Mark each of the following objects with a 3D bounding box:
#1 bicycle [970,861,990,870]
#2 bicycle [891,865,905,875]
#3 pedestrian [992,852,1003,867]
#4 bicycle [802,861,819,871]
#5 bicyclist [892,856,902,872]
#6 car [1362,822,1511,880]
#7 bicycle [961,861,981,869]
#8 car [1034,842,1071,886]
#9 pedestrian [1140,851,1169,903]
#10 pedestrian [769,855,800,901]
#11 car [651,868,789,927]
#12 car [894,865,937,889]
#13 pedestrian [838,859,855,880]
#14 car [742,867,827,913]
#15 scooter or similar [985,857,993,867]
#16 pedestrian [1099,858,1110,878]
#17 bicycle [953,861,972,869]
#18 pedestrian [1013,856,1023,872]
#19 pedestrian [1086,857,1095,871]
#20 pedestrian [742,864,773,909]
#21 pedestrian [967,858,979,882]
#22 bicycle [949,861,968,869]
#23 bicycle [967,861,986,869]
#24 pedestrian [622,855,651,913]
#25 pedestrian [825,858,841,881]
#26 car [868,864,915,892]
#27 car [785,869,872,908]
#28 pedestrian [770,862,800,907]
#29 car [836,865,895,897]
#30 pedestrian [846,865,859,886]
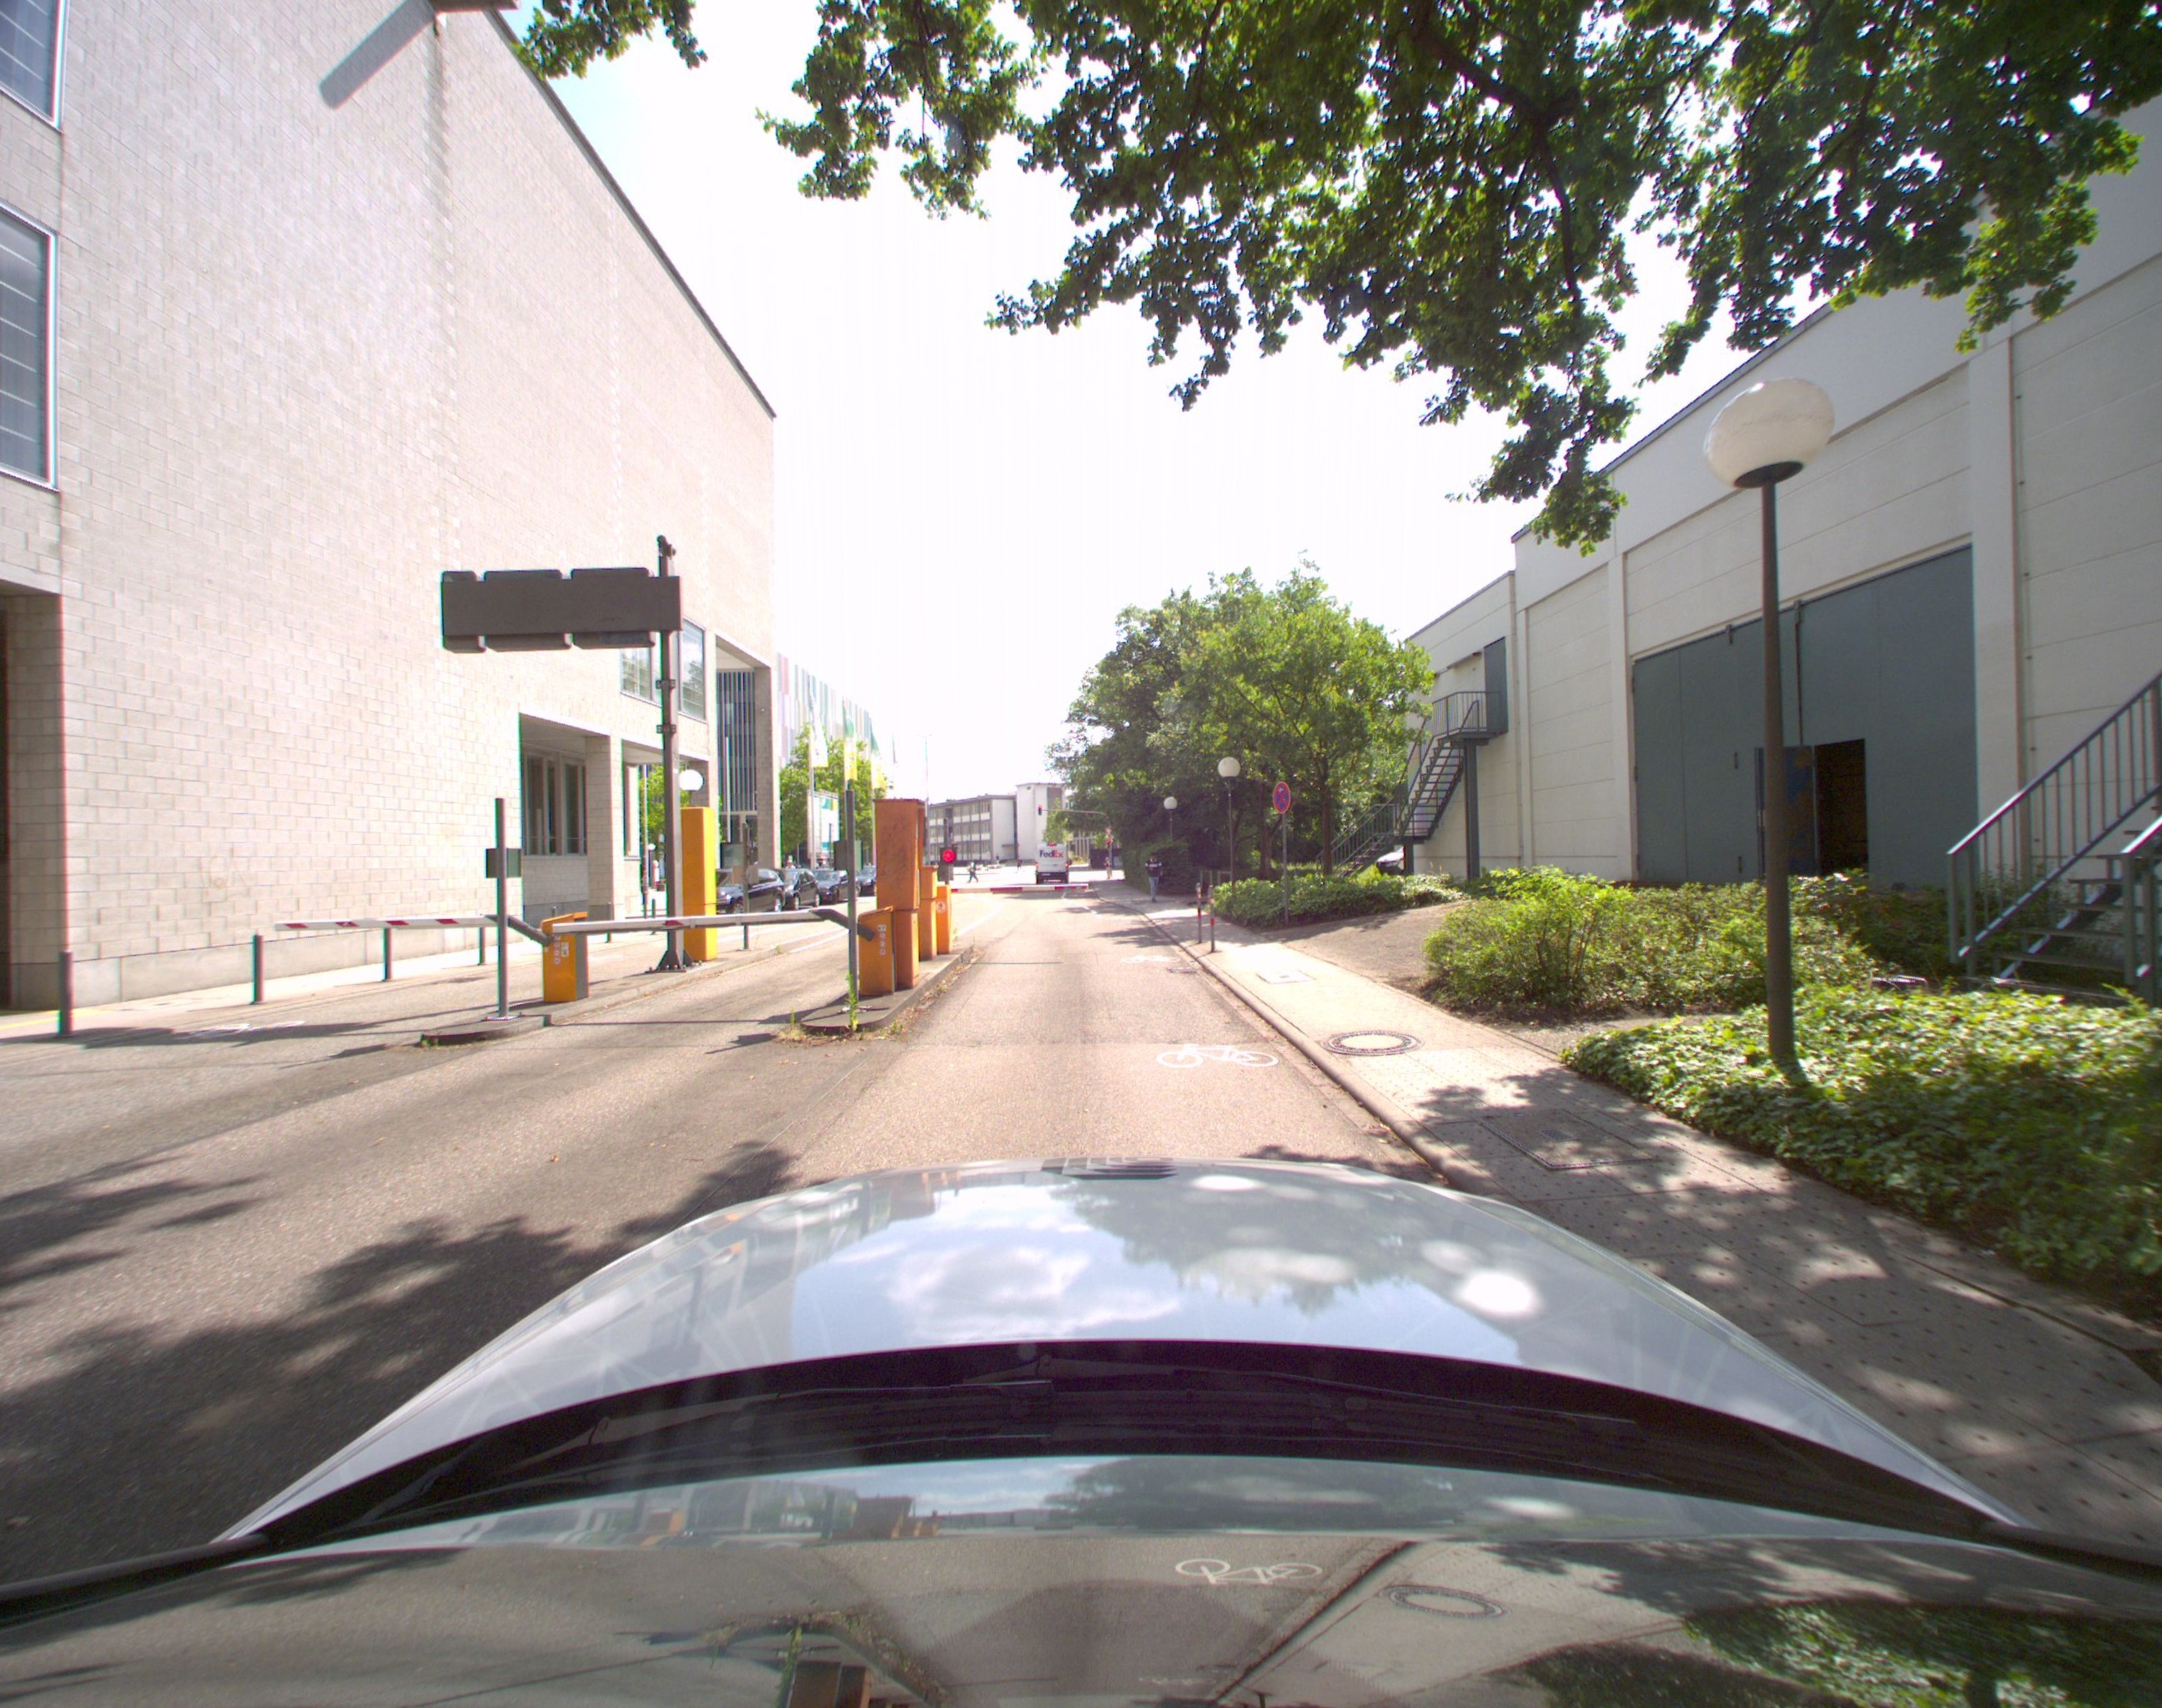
[{"bbox_3d":[-15.928,1.837,128.810,2.979,1.363,1.104,0,-1,-38],"label":"bicycle"},{"bbox_3d":[-21.356,1.823,95.047,0.766,1.122,2.032,-2,0,10],"label":"bicycle"},{"bbox_3d":[-11.182,0.775,108.780,1.132,2.014,1.160,-1,-1,13],"label":"pedestrian"},{"bbox_3d":[-34.037,1.466,102.605,1.383,1.237,2.921,0,-1,-32],"label":"bicycle"},{"bbox_3d":[-21.397,1.189,94.882,0.785,1.817,1.002,-2,0,9],"label":"bicyclist"},{"bbox_3d":[13.651,-0.100,31.488,4.809,2.014,2.062,-2,-1,0],"label":"car"},{"bbox_3d":[-17.716,1.780,131.152,2.979,1.363,1.261,0,-1,-38],"label":"bicycle"},{"bbox_3d":[-1.750,0.583,51.535,2.089,2.566,5.600,-2,0,-1],"label":"car"},{"bbox_3d":[2.429,0.744,27.066,0.738,1.674,1.255,-1,0,-3],"label":"pedestrian"},{"bbox_3d":[-13.389,1.062,36.771,0.982,2.014,1.163,-1,-1,-4],"label":"pedestrian"},{"bbox_3d":[-10.168,1.156,23.399,1.853,1.467,4.717,0,0,0],"label":"car"},{"bbox_3d":[-10.268,1.410,50.965,1.671,1.395,4.662,1,0,1],"label":"car"},{"bbox_3d":[-20.222,1.329,70.294,0.853,1.819,1.102,-2,0,23],"label":"pedestrian"},{"bbox_3d":[-10.330,1.205,28.646,1.633,1.467,3.706,0,0,0],"label":"car"},{"bbox_3d":[-10.958,0.967,96.431,0.717,1.178,2.715,-1,0,-11],"label":"scooter or similar"},{"bbox_3d":[1.820,1.075,62.563,0.730,1.576,0.774,0,-1,-5],"label":"pedestrian"},{"bbox_3d":[-19.387,1.788,133.308,2.979,1.363,1.104,0,-1,-38],"label":"bicycle"},{"bbox_3d":[-7.272,1.165,94.386,1.078,1.870,0.832,-2,0,-2],"label":"pedestrian"},{"bbox_3d":[1.134,1.154,94.573,0.827,1.523,0.809,-1,-1,-20],"label":"pedestrian"},{"bbox_3d":[-14.919,1.477,37.640,0.982,2.014,1.163,-1,-1,-4],"label":"pedestrian"},{"bbox_3d":[-8.456,1.266,63.688,0.717,1.859,0.770,-1,0,1],"label":"pedestrian"},{"bbox_3d":[-20.176,1.813,134.354,2.979,1.363,1.104,0,-1,-38],"label":"bicycle"},{"bbox_3d":[-16.670,1.753,129.902,2.979,1.363,1.104,0,-1,-38],"label":"bicycle"},{"bbox_3d":[-18.978,1.284,34.793,0.750,2.422,0.742,-2,-1,24],"label":"pedestrian"},{"bbox_3d":[-21.557,1.348,70.862,0.845,1.876,1.012,-2,0,22],"label":"pedestrian"},{"bbox_3d":[-10.630,1.299,45.855,1.671,1.467,3.911,1,0,1],"label":"car"},{"bbox_3d":[-10.213,1.359,33.319,1.852,1.378,5.018,1,0,2],"label":"car"},{"bbox_3d":[-13.808,1.414,37.981,0.982,2.014,1.163,-1,-1,-4],"label":"pedestrian"},{"bbox_3d":[-10.696,1.285,40.725,1.741,1.467,4.197,1,0,2],"label":"car"},{"bbox_3d":[-17.667,1.639,62.974,0.768,1.598,0.799,-2,0,1],"label":"pedestrian"}]
